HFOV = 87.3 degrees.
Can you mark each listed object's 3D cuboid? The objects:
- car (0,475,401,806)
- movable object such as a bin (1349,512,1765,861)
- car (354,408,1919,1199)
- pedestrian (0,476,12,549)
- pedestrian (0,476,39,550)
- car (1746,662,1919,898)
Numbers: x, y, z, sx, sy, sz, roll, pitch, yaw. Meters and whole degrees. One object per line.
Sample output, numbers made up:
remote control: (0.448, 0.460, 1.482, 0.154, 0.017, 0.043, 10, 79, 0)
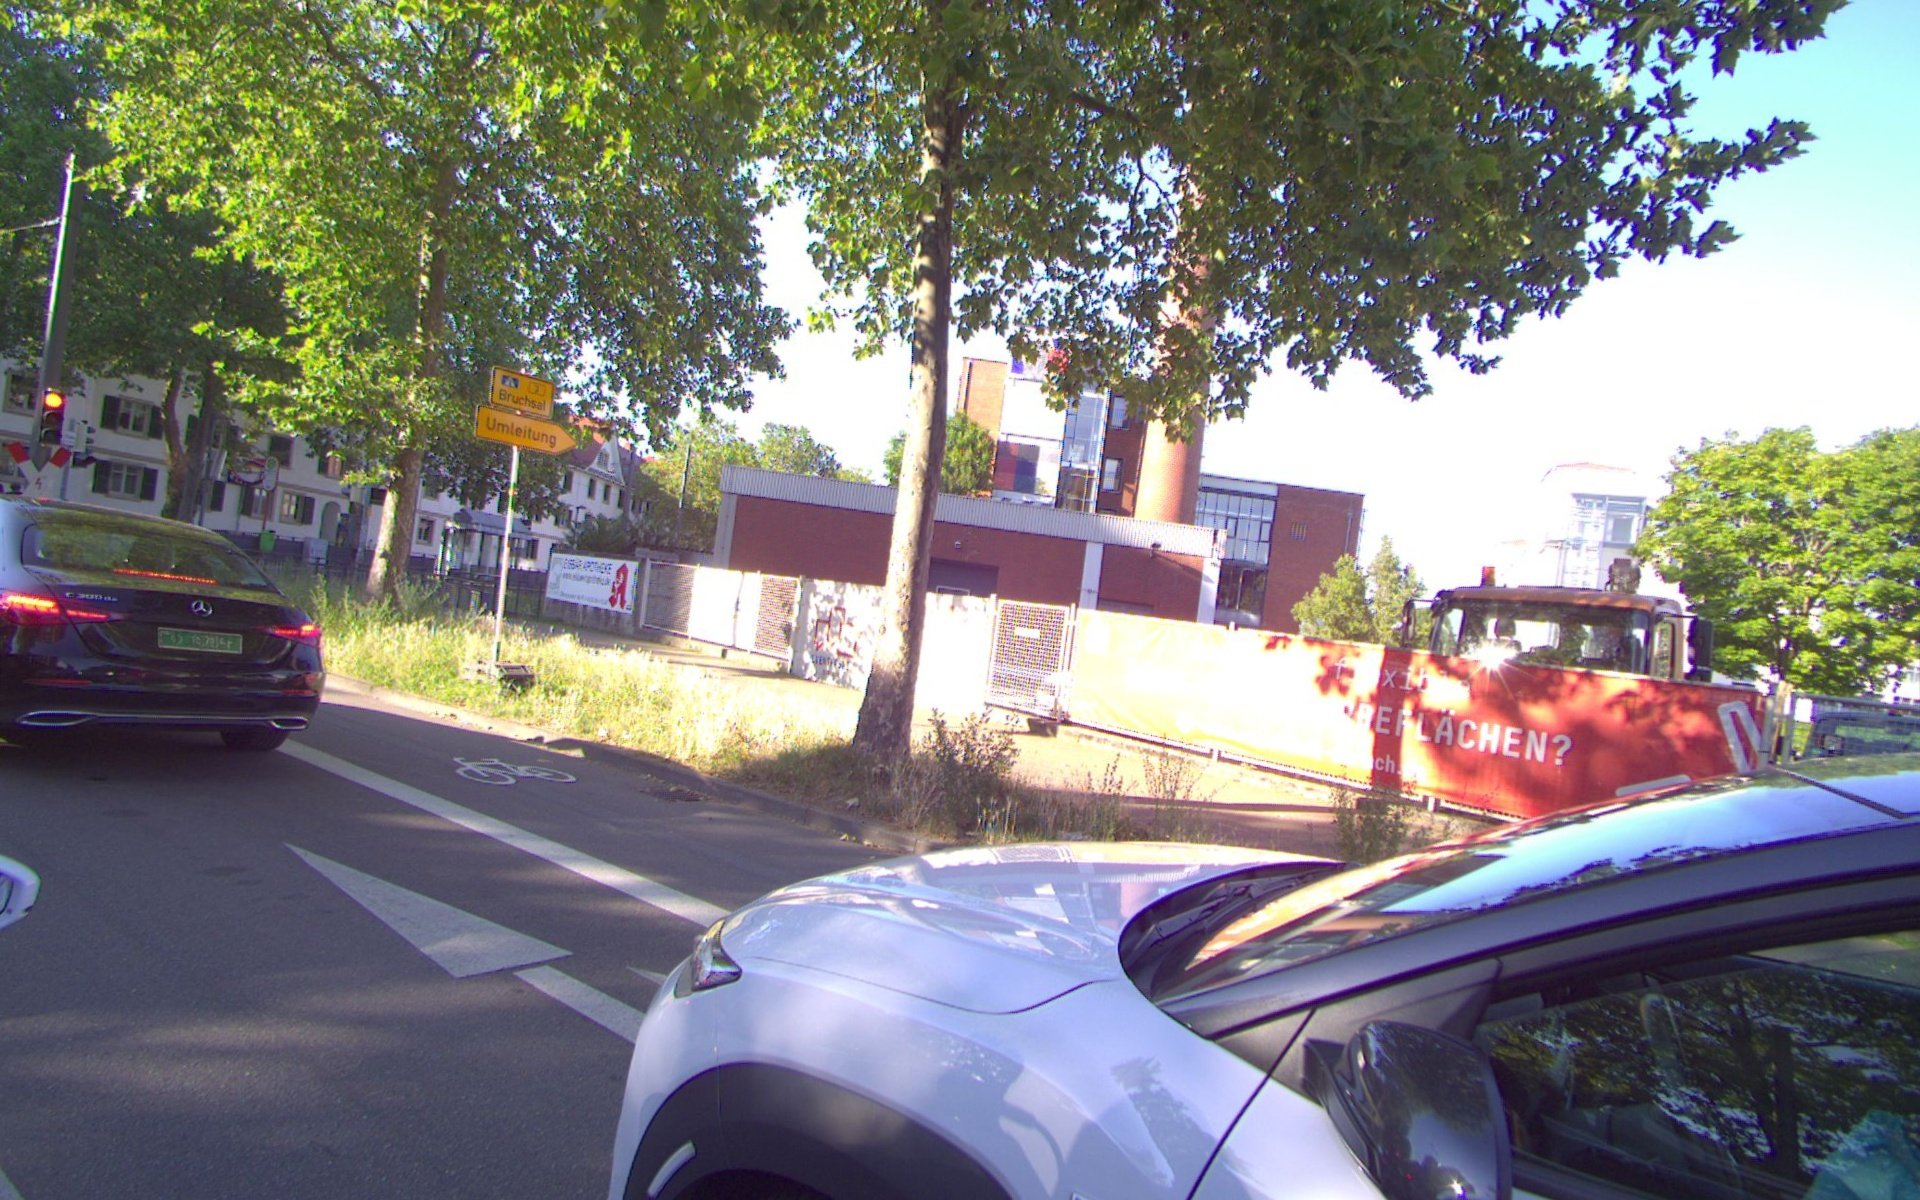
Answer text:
car: (-5.916, 0.041, 6.648, 4.308, 1.508, 1.893, 9, -1, 32)
movable object such as a bin: (7.646, 1.035, 12.409, 3.172, 3.084, 6.266, 6, -2, 41)
car: (1.217, 0.851, 1.313, 3.901, 1.616, 1.893, 9, -1, 33)
pedestrian: (-26.117, -2.394, 26.914, 0.825, 1.940, 0.707, 7, -1, 28)
pedestrian: (-26.520, -2.430, 28.134, 0.825, 1.940, 0.707, 7, -1, 28)
car: (9.575, 1.825, 10.151, 2.016, 1.849, 4.583, 6, -3, 44)
